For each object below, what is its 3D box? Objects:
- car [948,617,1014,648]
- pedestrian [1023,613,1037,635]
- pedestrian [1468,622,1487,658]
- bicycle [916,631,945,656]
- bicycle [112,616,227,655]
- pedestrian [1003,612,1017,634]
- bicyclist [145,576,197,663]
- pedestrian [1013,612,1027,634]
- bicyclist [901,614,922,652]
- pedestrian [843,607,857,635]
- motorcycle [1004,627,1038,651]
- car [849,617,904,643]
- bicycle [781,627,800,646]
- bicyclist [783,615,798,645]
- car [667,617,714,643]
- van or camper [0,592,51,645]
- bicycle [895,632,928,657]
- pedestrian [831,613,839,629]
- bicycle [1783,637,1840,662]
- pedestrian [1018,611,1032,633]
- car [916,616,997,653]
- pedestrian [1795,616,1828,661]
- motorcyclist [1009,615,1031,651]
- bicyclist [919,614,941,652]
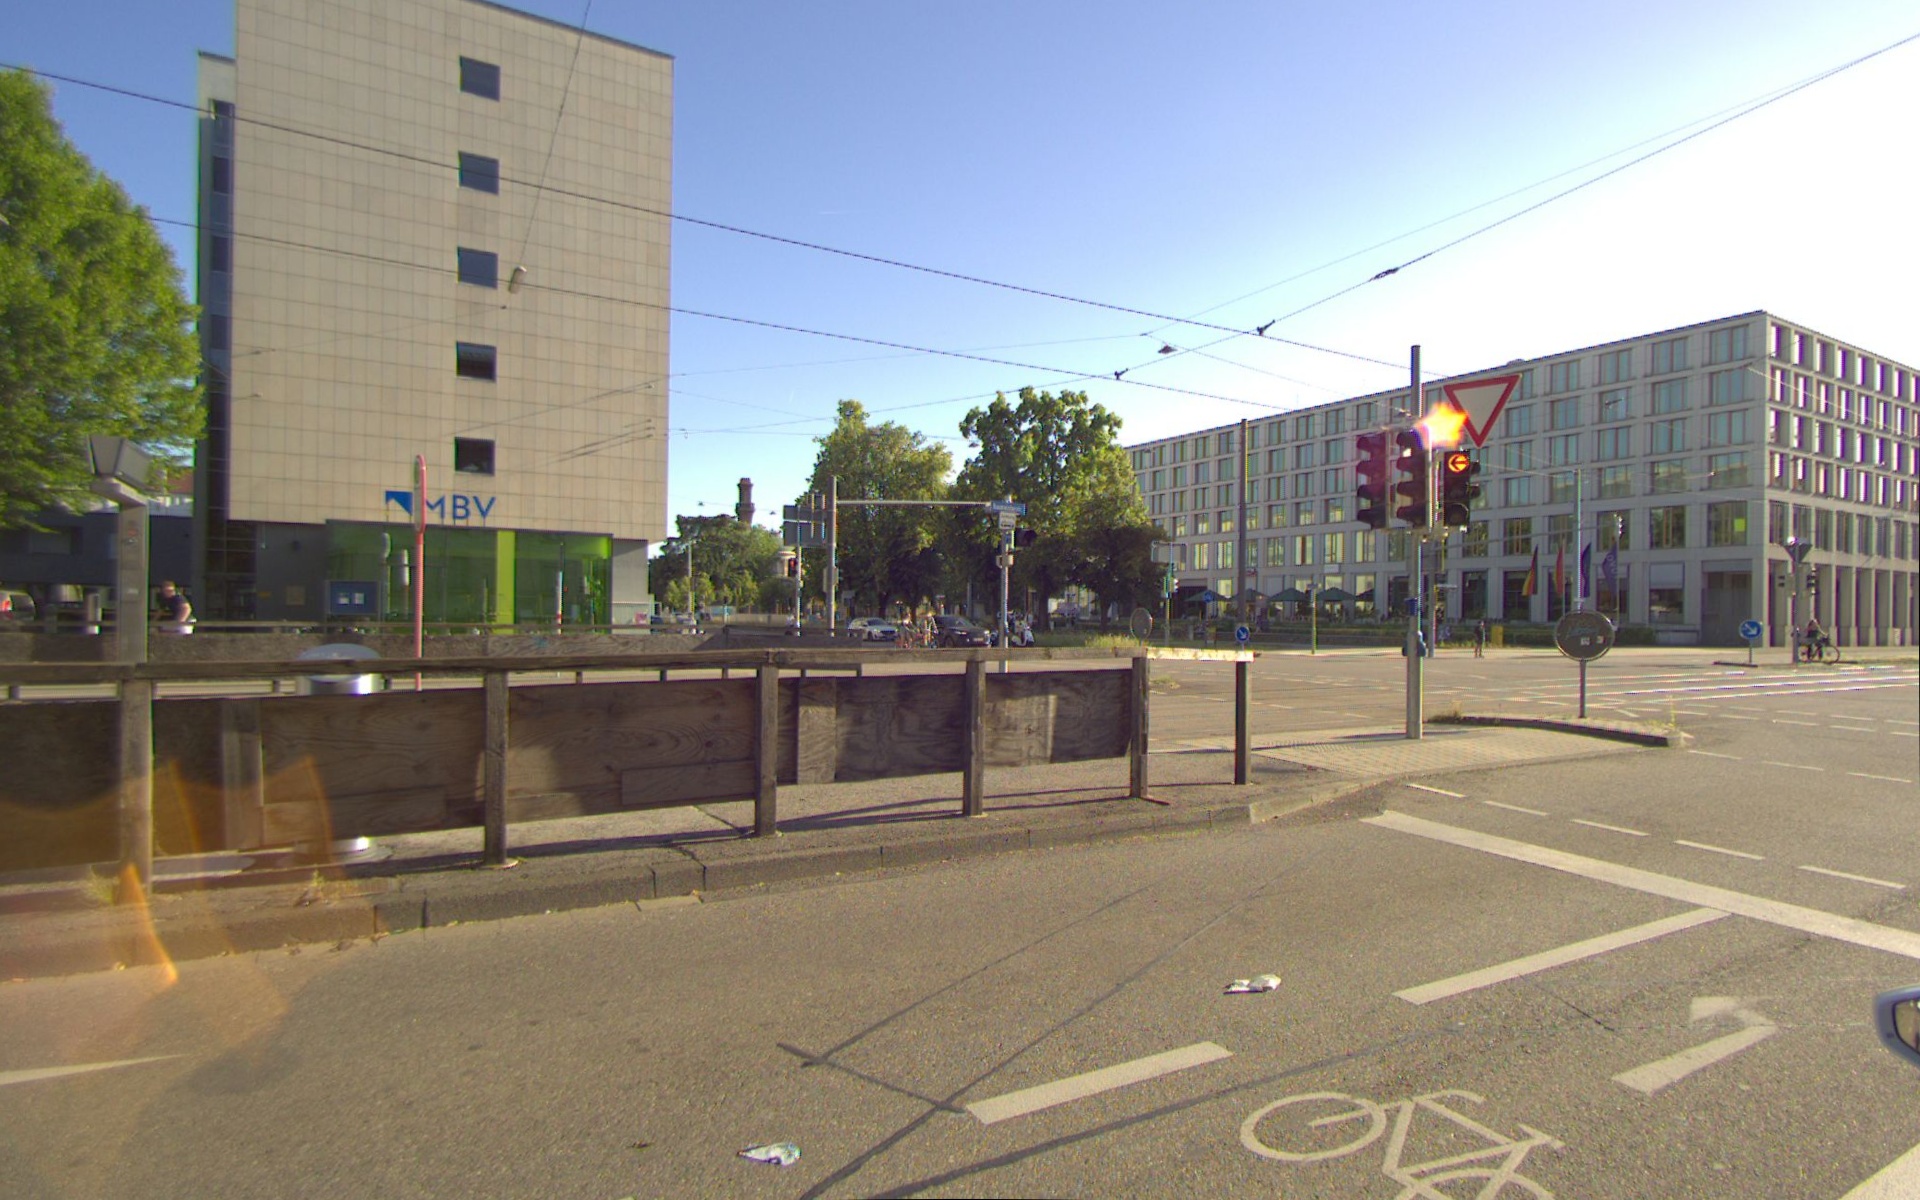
[{"bbox_3d":[1.048,1.660,52.171,1.674,1.506,3.719,1,-1,-33],"label":"car"},{"bbox_3d":[5.635,1.900,80.923,0.858,1.738,0.737,2,0,-26],"label":"pedestrian"},{"bbox_3d":[25.105,1.933,48.710,0.597,1.703,0.602,1,-1,-22],"label":"pedestrian"},{"bbox_3d":[-1.262,1.831,42.381,0.576,1.032,1.666,1,-1,-27],"label":"bicycle"},{"bbox_3d":[-16.586,0.749,21.121,1.831,0.798,0.532,1,-1,-31],"label":"bicycle"},{"bbox_3d":[4.055,1.854,81.221,0.858,1.738,0.737,2,0,-26],"label":"pedestrian"},{"bbox_3d":[-16.509,0.402,21.031,0.762,1.784,0.532,1,-1,-30],"label":"bicyclist"},{"bbox_3d":[4.879,1.882,81.843,0.858,1.738,0.737,2,0,-26],"label":"pedestrian"},{"bbox_3d":[-2.028,1.371,42.017,0.577,1.563,0.833,1,-2,-32],"label":"bicyclist"},{"bbox_3d":[-8.149,1.561,74.137,0.772,2.040,0.747,1,-1,-31],"label":"pedestrian"},{"bbox_3d":[2.852,1.824,46.956,0.624,1.030,1.972,-3,1,-28],"label":"motorcycle"},{"bbox_3d":[-5.190,1.821,61.838,1.975,1.537,3.971,1,-1,-28],"label":"car"},{"bbox_3d":[-9.465,2.055,56.064,0.576,1.032,1.666,1,-1,-27],"label":"bicycle"},{"bbox_3d":[-9.467,1.683,56.080,0.576,1.658,0.890,1,-1,-27],"label":"bicyclist"},{"bbox_3d":[-16.991,1.886,63.148,1.975,1.472,4.179,2,0,-28],"label":"car"},{"bbox_3d":[-27.883,0.436,27.566,3.954,1.425,1.954,4,-3,-30],"label":"van or camper"},{"bbox_3d":[-2.033,1.850,42.020,0.577,1.032,1.806,1,-3,-31],"label":"bicycle"},{"bbox_3d":[-14.428,2.374,115.926,0.615,1.829,0.769,2,0,39],"label":"pedestrian"},{"bbox_3d":[30.770,1.784,36.341,0.562,0.834,1.718,1,-1,-2],"label":"bicycle"},{"bbox_3d":[5.415,1.825,83.306,0.858,1.738,0.737,2,0,-26],"label":"pedestrian"},{"bbox_3d":[-0.199,1.504,44.565,1.925,1.561,3.969,2,-2,-29],"label":"car"},{"bbox_3d":[30.775,1.388,36.294,0.562,1.616,0.744,1,-1,-3],"label":"pedestrian"},{"bbox_3d":[2.812,1.542,46.987,0.624,1.601,0.812,-3,1,-28],"label":"motorcyclist"},{"bbox_3d":[-1.268,1.379,42.417,0.576,1.563,0.890,1,-1,-27],"label":"bicyclist"}]
